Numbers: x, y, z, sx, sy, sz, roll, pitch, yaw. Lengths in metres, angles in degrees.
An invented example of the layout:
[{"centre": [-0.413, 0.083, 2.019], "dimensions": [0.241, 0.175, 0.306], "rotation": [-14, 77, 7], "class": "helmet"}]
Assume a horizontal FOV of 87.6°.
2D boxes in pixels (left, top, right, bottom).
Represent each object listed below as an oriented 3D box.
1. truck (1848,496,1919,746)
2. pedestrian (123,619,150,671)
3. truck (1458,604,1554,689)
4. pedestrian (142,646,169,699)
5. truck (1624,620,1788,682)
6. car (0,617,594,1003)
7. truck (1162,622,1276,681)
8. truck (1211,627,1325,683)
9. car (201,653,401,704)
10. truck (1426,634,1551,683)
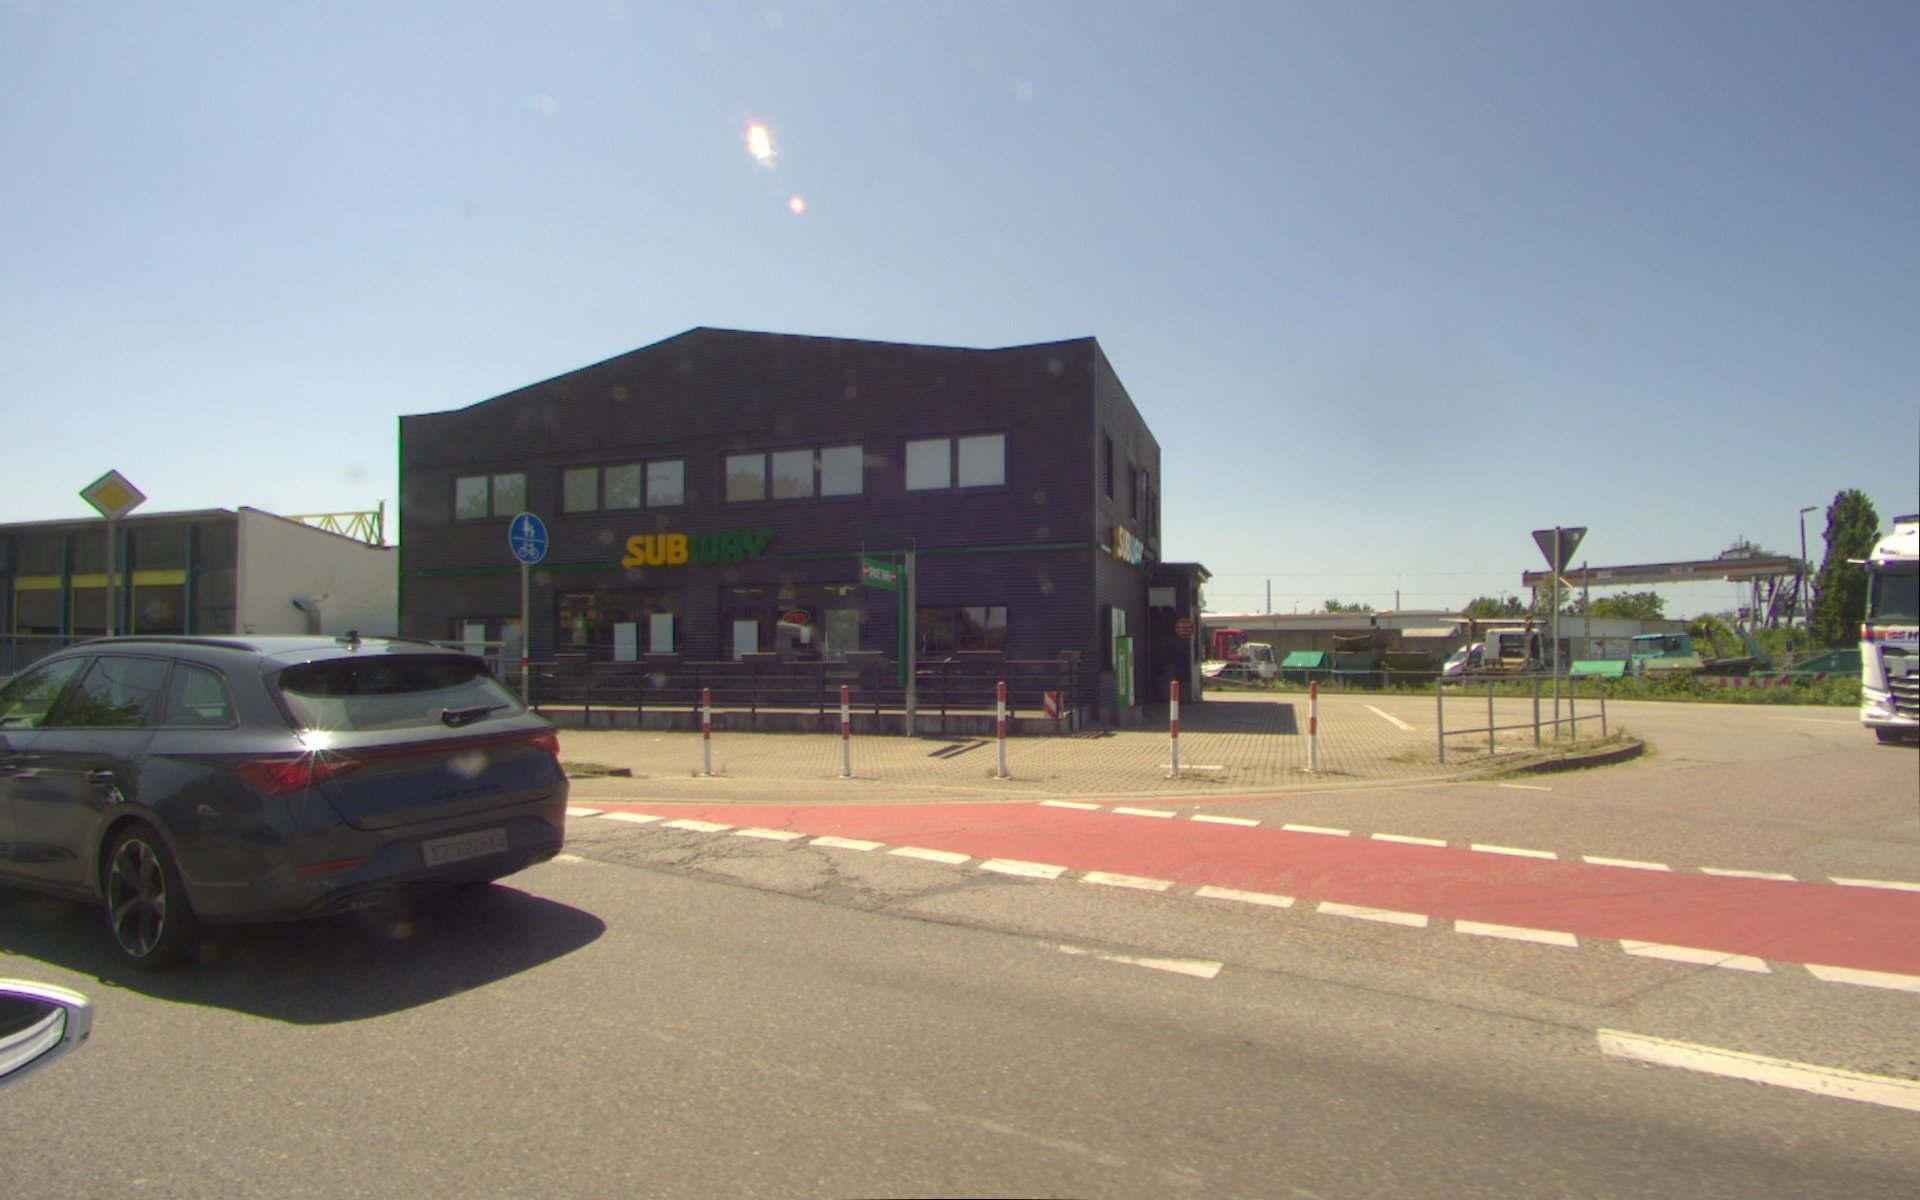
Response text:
[{"centre": [18.475, 0.380, 17.949], "dimensions": [5.689, 4.154, 2.559], "rotation": [1, -2, -35], "class": "truck"}, {"centre": [-27.256, 1.488, 33.143], "dimensions": [0.480, 1.724, 0.522], "rotation": [-1, -1, 20], "class": "pedestrian"}, {"centre": [24.265, 2.040, 44.286], "dimensions": [2.687, 3.423, 7.355], "rotation": [-1, -2, 37], "class": "truck"}, {"centre": [-26.582, 2.391, 33.096], "dimensions": [0.579, 1.724, 0.427], "rotation": [-1, -1, 19], "class": "pedestrian"}, {"centre": [42.194, 2.881, 56.772], "dimensions": [7.411, 3.412, 2.804], "rotation": [0, -1, -4], "class": "truck"}, {"centre": [-4.136, 0.866, 5.510], "dimensions": [4.169, 1.474, 1.604], "rotation": [-1, -2, 27], "class": "car"}, {"centre": [14.243, 2.827, 55.466], "dimensions": [5.995, 3.133, 2.650], "rotation": [-1, -2, 12], "class": "truck"}, {"centre": [17.611, 3.140, 57.639], "dimensions": [5.995, 3.133, 2.650], "rotation": [-1, -2, 12], "class": "truck"}, {"centre": [-20.159, 2.359, 30.900], "dimensions": [5.014, 1.375, 1.989], "rotation": [1, -2, -32], "class": "car"}, {"centre": [31.389, 3.439, 59.646], "dimensions": [5.991, 2.825, 2.652], "rotation": [0, -2, 0], "class": "truck"}]
